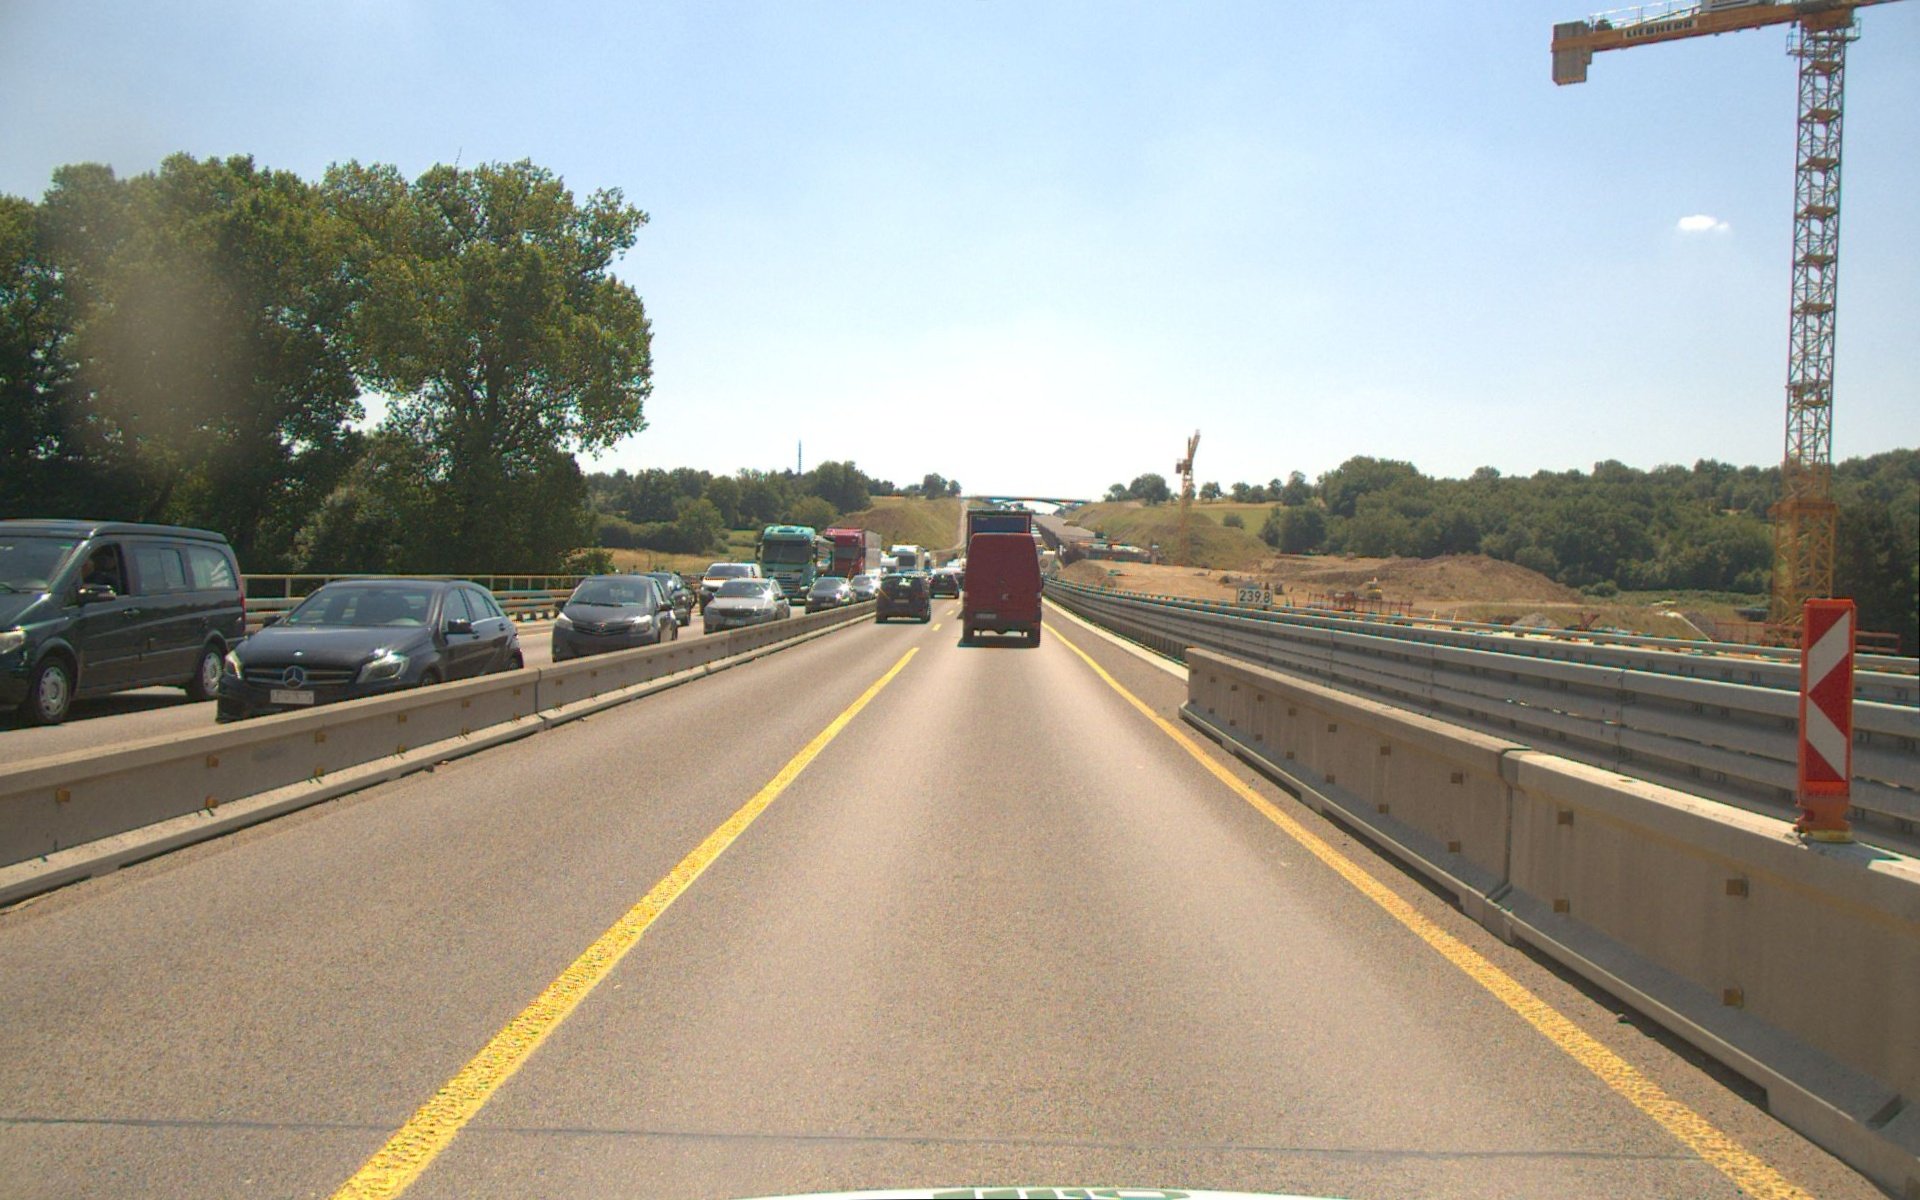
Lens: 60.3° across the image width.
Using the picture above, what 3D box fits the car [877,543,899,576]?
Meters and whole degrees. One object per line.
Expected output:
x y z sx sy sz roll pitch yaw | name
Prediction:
-5.906 -3.319 136.170 1.584 2.647 3.890 2 1 0 | car

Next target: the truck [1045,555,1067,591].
11.468 -3.211 197.197 2.244 3.804 6.481 1 -3 1 | truck

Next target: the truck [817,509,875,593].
-7.286 -3.109 107.126 2.751 5.025 12.134 2 1 0 | truck

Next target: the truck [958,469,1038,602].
1.468 -2.544 67.252 2.885 5.031 6.741 1 1 -1 | truck

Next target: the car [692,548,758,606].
-8.754 -0.859 61.889 1.953 2.048 3.999 1 1 -2 | car

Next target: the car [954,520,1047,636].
1.035 -0.572 42.028 2.105 2.656 5.440 2 1 1 | car

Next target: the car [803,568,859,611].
-4.942 -0.435 63.658 1.783 1.522 4.134 2 1 0 | car

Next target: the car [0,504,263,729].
-9.202 0.071 17.135 1.783 1.977 5.064 2 1 0 | car

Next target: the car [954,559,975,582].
0.398 -2.360 132.161 1.584 1.729 3.890 2 1 0 | car

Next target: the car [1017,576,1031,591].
8.319 -2.124 215.576 1.585 1.868 3.889 2 0 -1 | car

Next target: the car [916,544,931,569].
-4.115 -4.884 186.673 1.584 2.648 3.889 2 0 0 | car

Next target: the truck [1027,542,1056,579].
7.435 -3.619 151.101 2.244 3.252 6.483 1 1 0 | truck

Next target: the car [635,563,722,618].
-8.584 -0.325 50.831 1.783 1.522 5.173 2 1 0 | car

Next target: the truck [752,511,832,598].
-8.397 -2.267 84.144 2.751 4.032 12.134 2 1 0 | truck

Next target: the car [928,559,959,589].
-0.979 -1.604 101.248 1.783 1.726 4.134 2 1 0 | car

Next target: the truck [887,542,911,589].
-5.850 -3.286 159.764 1.952 4.076 6.481 1 -3 0 | truck

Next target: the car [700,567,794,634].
-5.257 -0.029 41.271 1.783 1.522 4.134 2 1 0 | car

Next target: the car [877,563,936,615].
-1.808 -0.396 57.426 1.698 1.664 4.391 2 1 2 | car

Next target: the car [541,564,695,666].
-5.659 0.190 27.815 1.690 1.522 4.134 2 1 0 | car

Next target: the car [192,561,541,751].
-5.511 0.426 16.014 1.721 1.522 4.440 2 1 0 | car

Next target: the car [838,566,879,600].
-4.813 -0.804 78.601 1.675 1.522 3.601 2 1 0 | car
